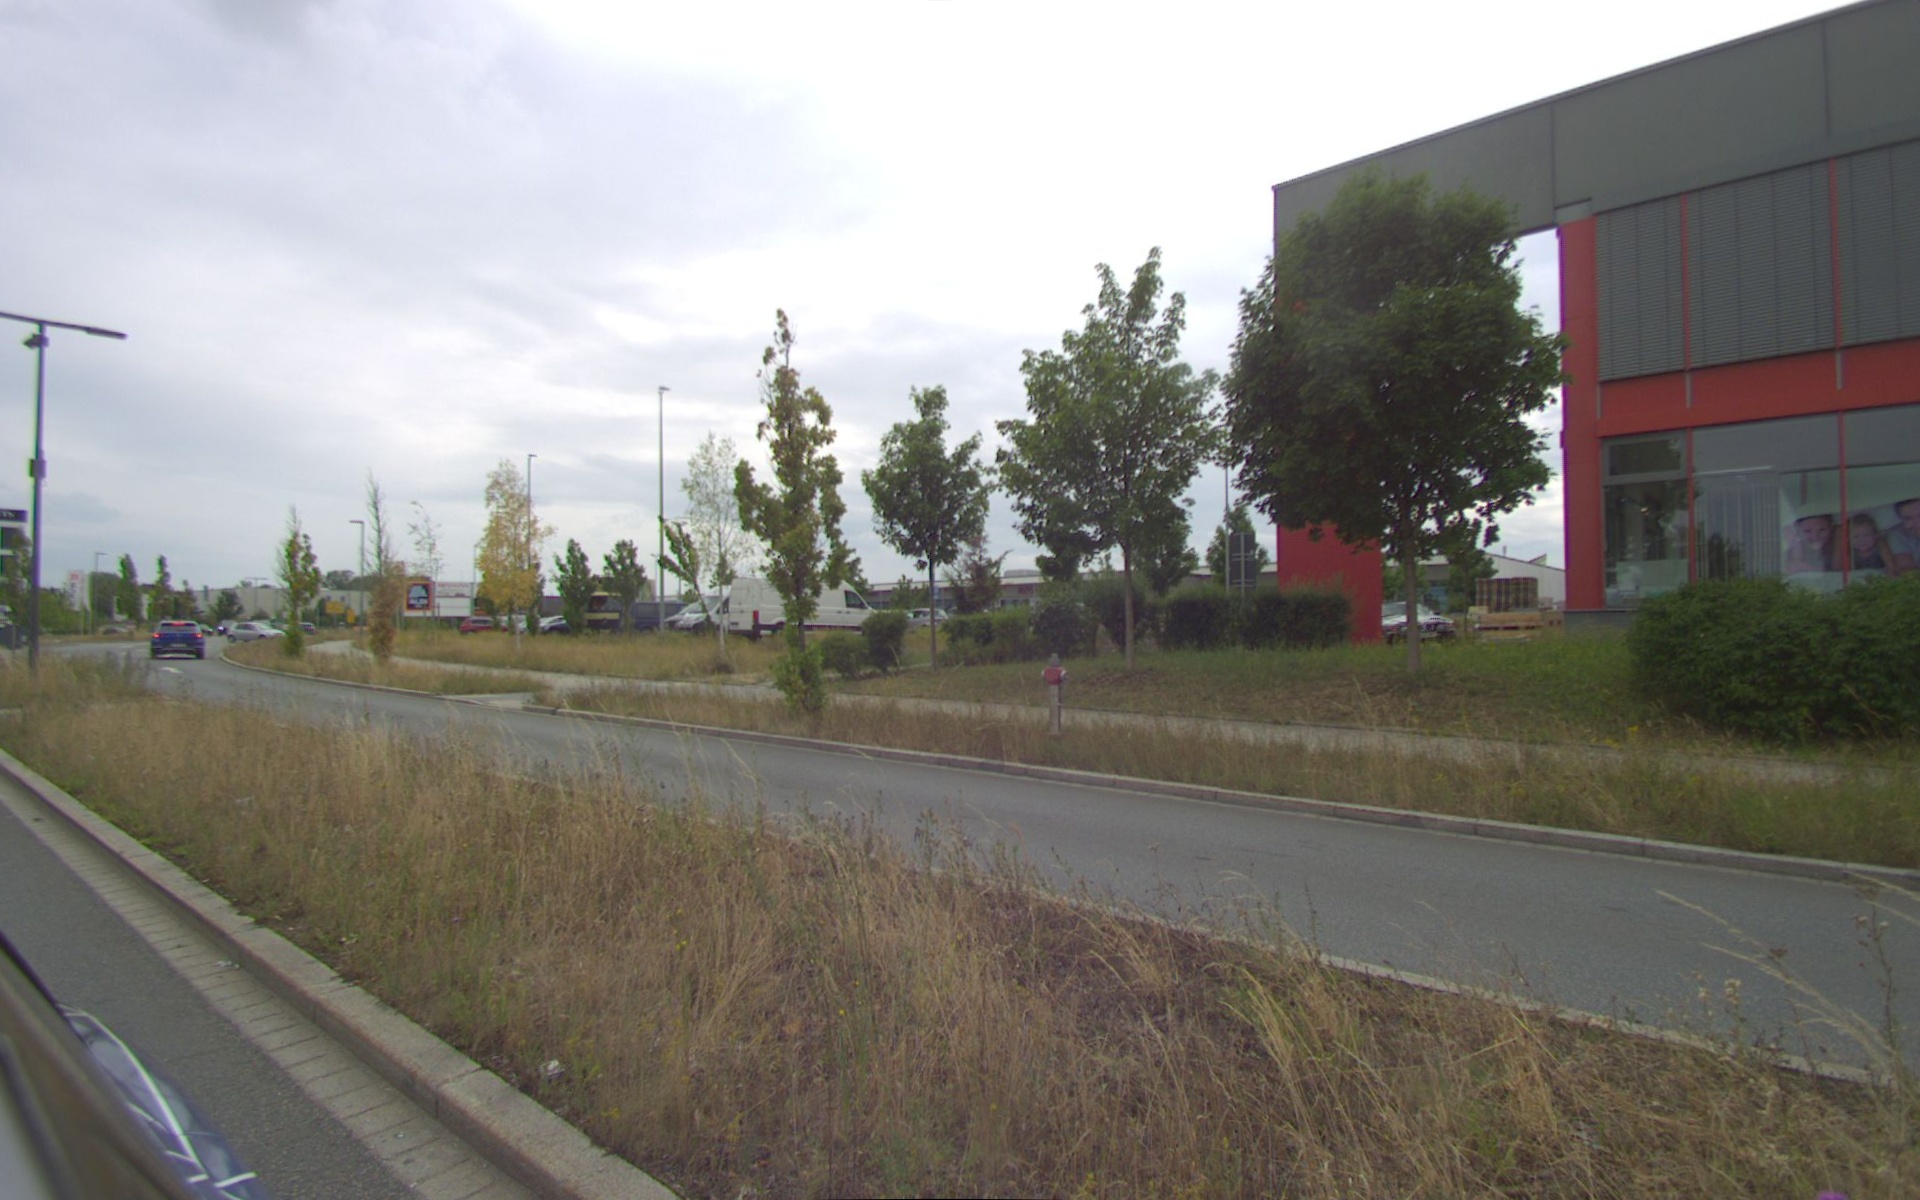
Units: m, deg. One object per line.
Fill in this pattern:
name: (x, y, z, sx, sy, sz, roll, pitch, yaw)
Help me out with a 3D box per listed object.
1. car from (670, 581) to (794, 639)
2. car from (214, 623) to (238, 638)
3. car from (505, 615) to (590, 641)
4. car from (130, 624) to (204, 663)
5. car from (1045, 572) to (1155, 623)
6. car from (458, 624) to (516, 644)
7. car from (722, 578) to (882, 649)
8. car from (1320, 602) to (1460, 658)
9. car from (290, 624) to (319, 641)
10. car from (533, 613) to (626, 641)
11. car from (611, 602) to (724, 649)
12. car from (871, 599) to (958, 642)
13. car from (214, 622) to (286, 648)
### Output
car: (-9.776, 0.400, 43.713, 2.064, 2.391, 4.988, -1, 0, 41)
car: (-79.278, 3.268, 109.275, 1.968, 1.586, 4.008, -1, 0, -38)
car: (-28.020, 1.904, 68.832, 4.976, 1.669, 2.068, 1, -2, -39)
car: (-32.811, 1.779, 41.851, 3.998, 1.524, 1.711, -2, -3, 41)
car: (6.855, -0.117, 49.862, 5.049, 2.391, 2.039, -1, 0, 37)
car: (-36.736, 2.628, 78.674, 3.931, 1.475, 1.742, -1, 0, -20)
car: (-6.181, 0.488, 40.457, 2.066, 2.644, 6.326, -1, 0, 45)
car: (10.355, 0.700, 24.462, 2.860, 1.280, 1.245, -1, 0, 42)
car: (-59.251, 2.926, 91.506, 1.704, 1.504, 4.013, 1, -2, -26)
car: (-23.497, 1.686, 62.610, 4.976, 1.669, 2.068, 1, -2, -39)
car: (-14.447, 1.271, 50.218, 4.979, 2.240, 2.067, 2, -3, -42)
car: (-2.697, 1.170, 58.572, 5.056, 2.391, 2.036, -1, 0, 42)
car: (-51.193, 2.529, 73.011, 3.954, 1.683, 1.995, -2, -1, 9)
